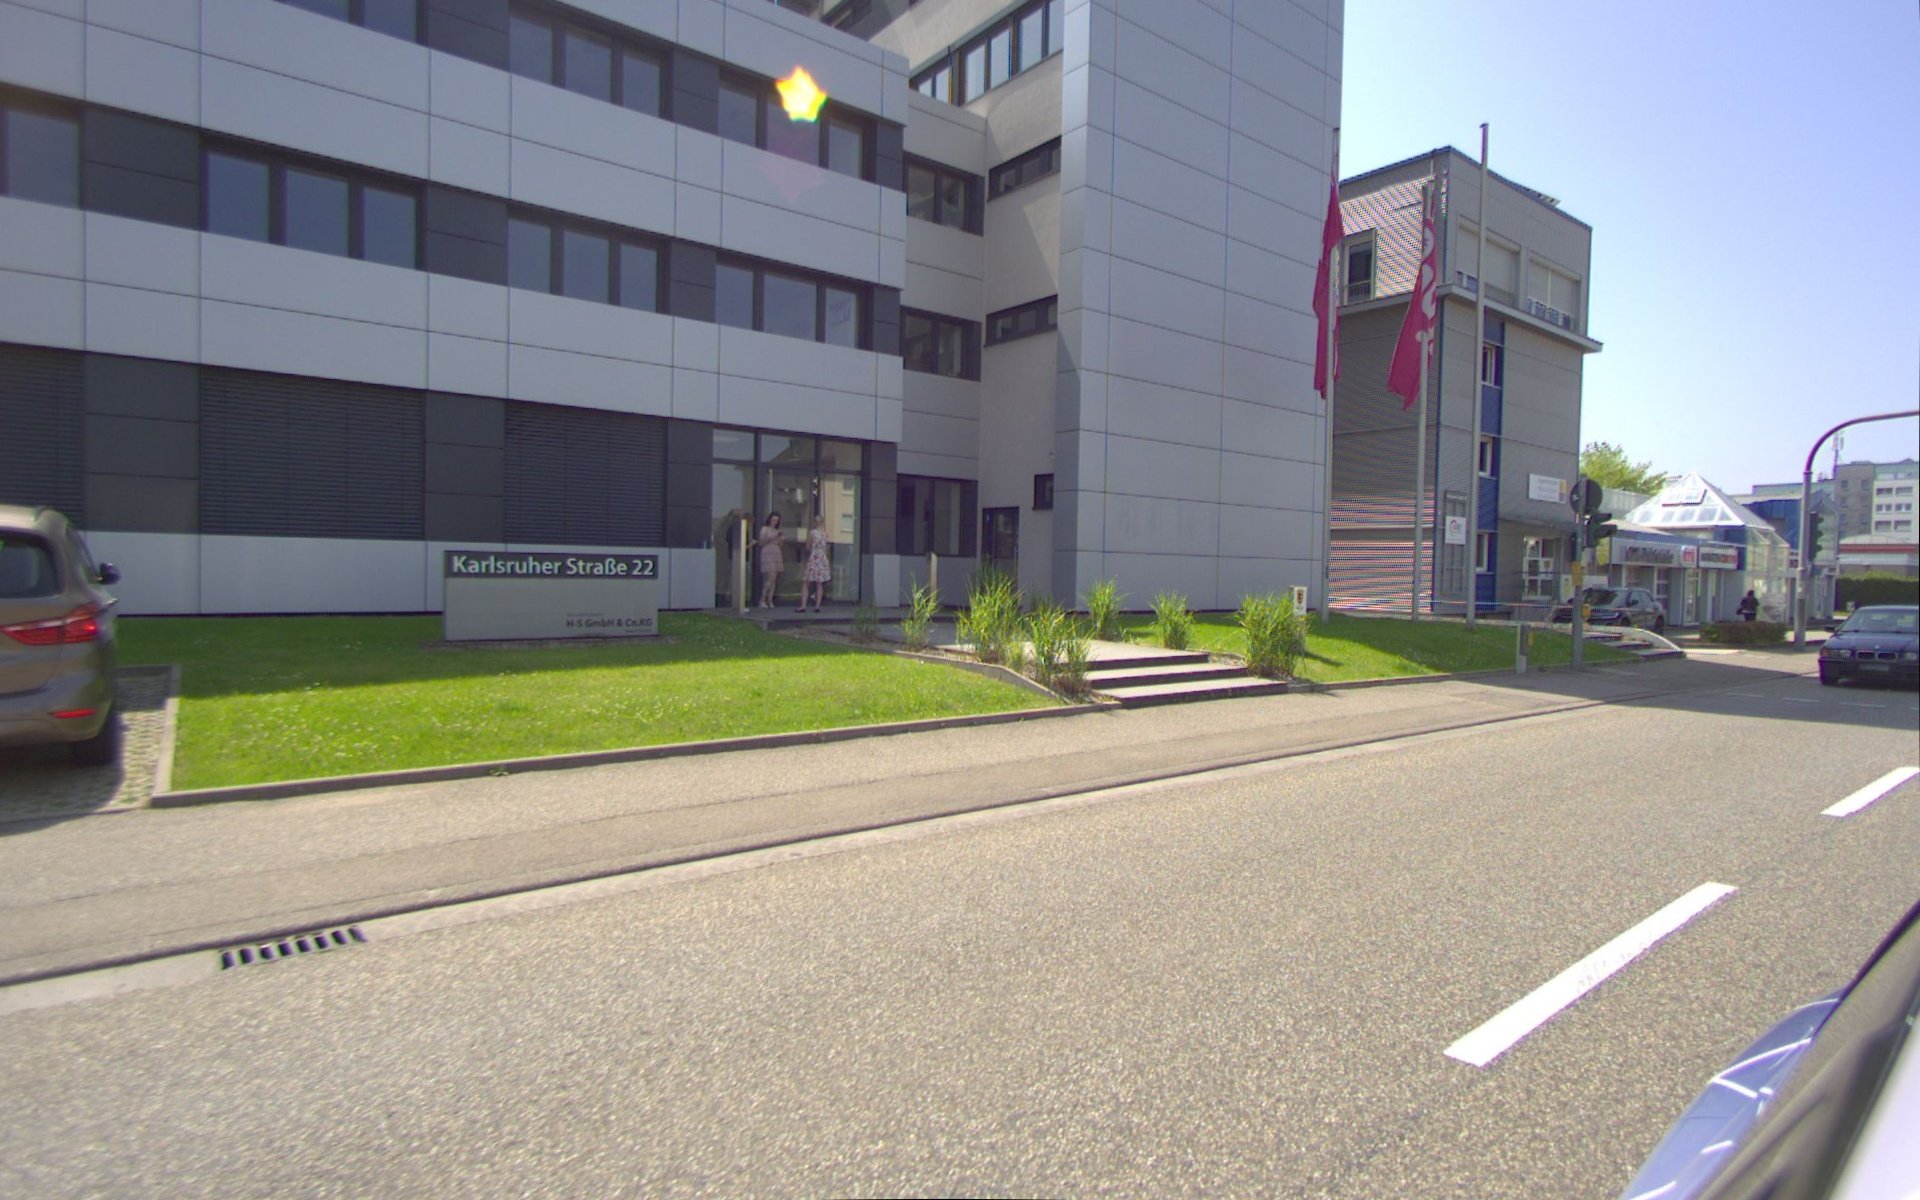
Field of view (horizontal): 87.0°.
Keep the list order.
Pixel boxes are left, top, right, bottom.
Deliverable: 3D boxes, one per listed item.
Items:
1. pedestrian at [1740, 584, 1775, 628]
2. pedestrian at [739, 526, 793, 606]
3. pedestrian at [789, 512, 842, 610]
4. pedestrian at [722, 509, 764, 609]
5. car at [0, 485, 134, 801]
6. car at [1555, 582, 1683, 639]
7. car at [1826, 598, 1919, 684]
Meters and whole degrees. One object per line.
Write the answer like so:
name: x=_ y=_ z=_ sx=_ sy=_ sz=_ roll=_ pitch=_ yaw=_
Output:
pedestrian: x=31.057 y=0.228 z=39.417 sx=0.836 sy=1.647 sz=0.813 roll=0 pitch=2 yaw=-34
pedestrian: x=-3.534 y=-0.625 z=18.473 sx=0.521 sy=1.422 sz=0.787 roll=3 pitch=2 yaw=43
pedestrian: x=-2.544 y=-0.688 z=17.819 sx=0.520 sy=1.683 sz=0.747 roll=3 pitch=2 yaw=35
pedestrian: x=-3.675 y=-0.693 z=17.146 sx=0.512 sy=1.654 sz=0.596 roll=1 pitch=2 yaw=-29
car: x=-6.911 y=0.073 z=6.817 sx=1.965 sy=1.709 sz=4.269 roll=-1 pitch=5 yaw=-41
car: x=19.069 y=0.271 z=29.242 sx=4.119 sy=1.550 sz=1.849 roll=0 pitch=0 yaw=-37
car: x=16.477 y=0.657 z=17.447 sx=3.687 sy=1.356 sz=1.632 roll=0 pitch=0 yaw=-38
